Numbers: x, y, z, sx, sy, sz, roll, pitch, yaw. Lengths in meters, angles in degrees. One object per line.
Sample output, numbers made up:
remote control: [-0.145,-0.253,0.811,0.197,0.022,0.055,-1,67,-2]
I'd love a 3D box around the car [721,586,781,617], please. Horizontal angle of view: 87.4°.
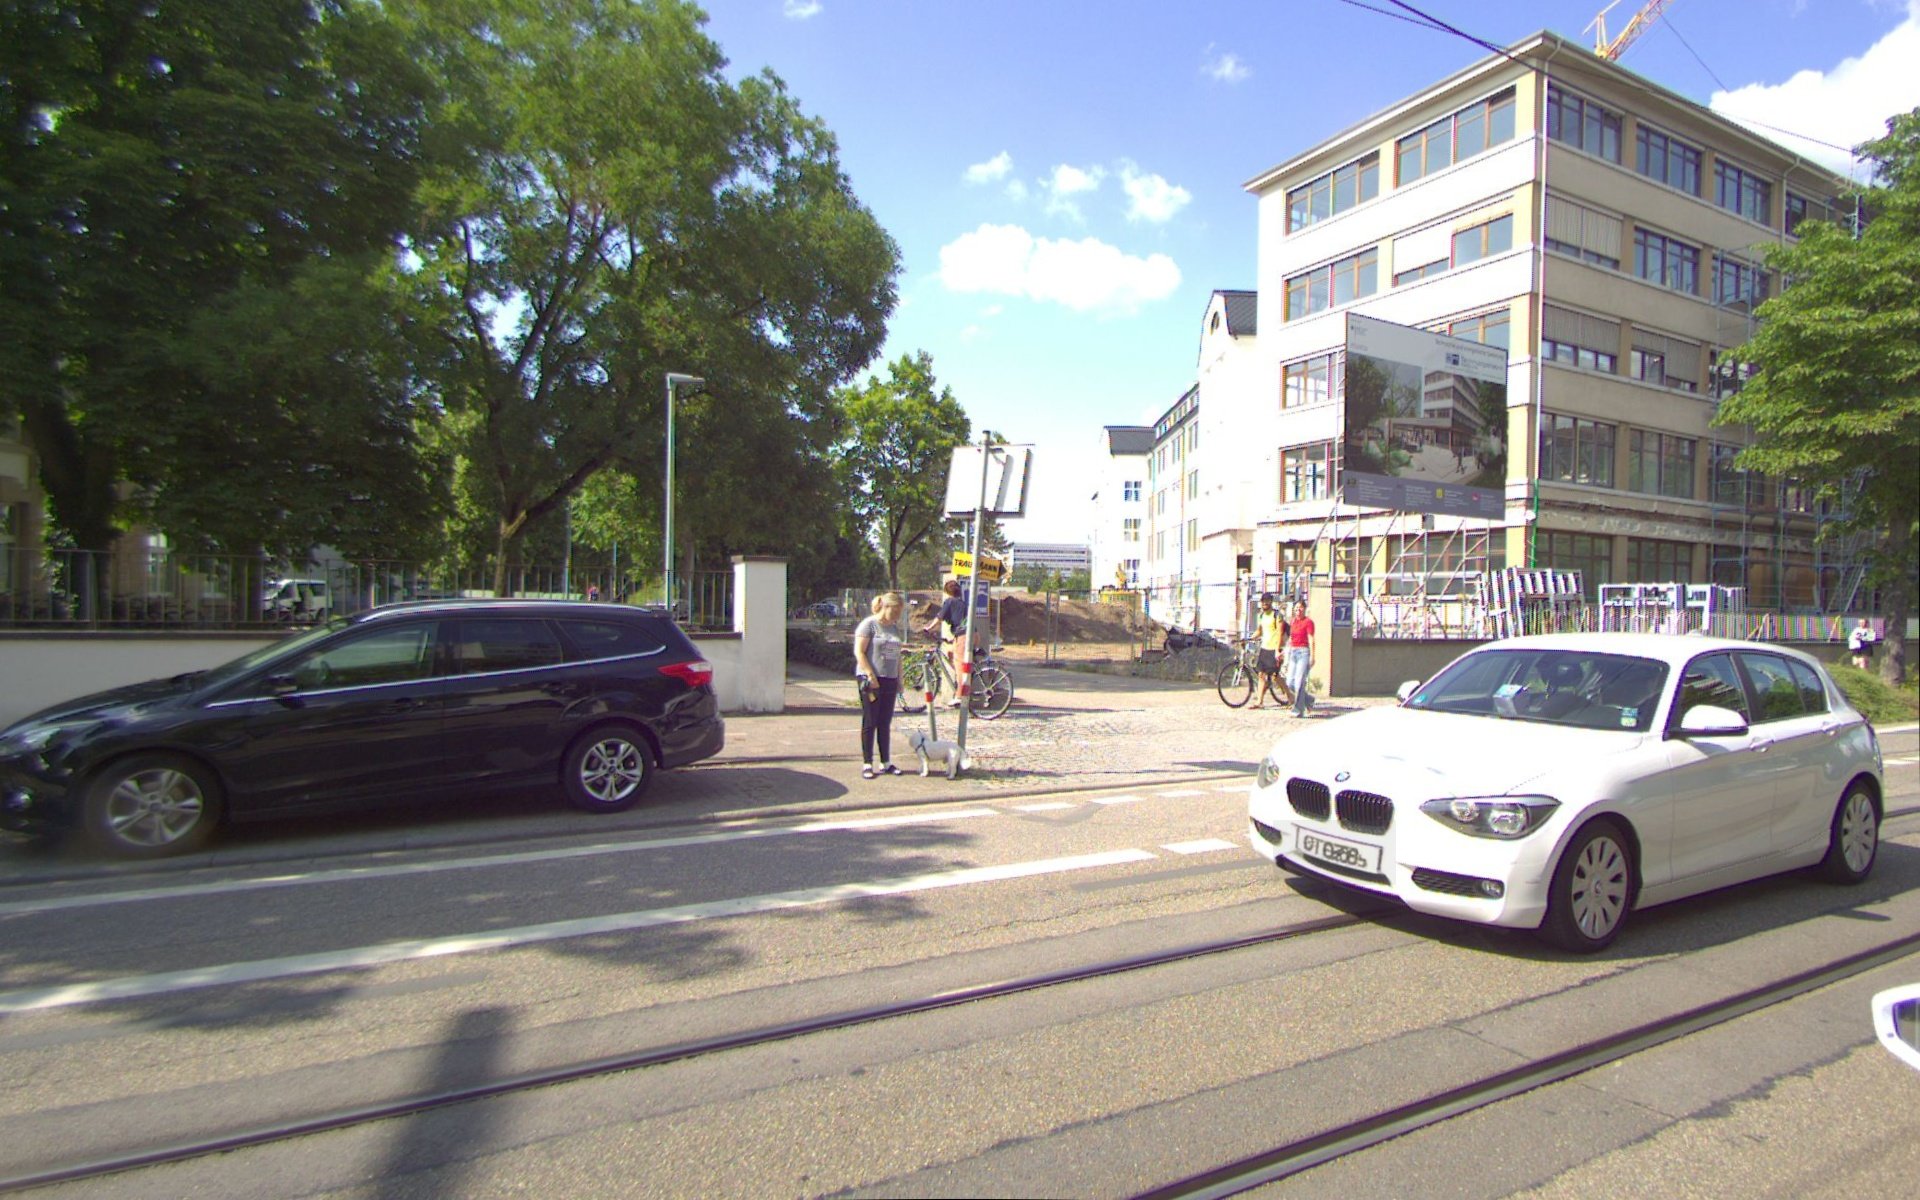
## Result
car: [-14.624,0.120,70.469,3.925,2.040,1.998,1,0,-6]

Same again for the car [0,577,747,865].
car: [-4.014,0.691,7.206,4.541,1.536,1.739,2,1,-32]

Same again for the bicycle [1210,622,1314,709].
bicycle: [4.752,1.016,15.778,1.716,1.303,0.444,1,0,-27]

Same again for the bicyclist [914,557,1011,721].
bicyclist: [0.024,0.494,13.123,0.824,2.040,0.872,3,1,-30]

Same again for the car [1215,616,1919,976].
car: [3.630,0.860,5.741,4.174,1.424,1.680,2,-1,-28]

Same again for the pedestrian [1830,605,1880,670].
pedestrian: [23.311,0.969,26.170,0.587,1.642,0.761,1,1,-28]

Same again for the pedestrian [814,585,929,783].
pedestrian: [-0.786,0.716,8.994,0.714,1.659,0.691,2,1,28]

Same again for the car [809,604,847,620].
car: [-13.434,1.193,102.409,3.595,1.509,1.785,1,0,-2]

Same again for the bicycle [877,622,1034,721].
bicycle: [-0.042,0.927,13.089,1.921,1.181,0.640,3,2,-30]

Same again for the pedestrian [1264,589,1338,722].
pedestrian: [4.993,0.792,14.722,0.655,1.857,0.703,-1,4,-34]

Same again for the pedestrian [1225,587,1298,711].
pedestrian: [4.612,0.738,15.392,0.655,1.817,0.703,2,3,-34]

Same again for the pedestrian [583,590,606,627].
pedestrian: [-16.472,0.395,45.324,0.751,1.642,0.594,1,0,10]
